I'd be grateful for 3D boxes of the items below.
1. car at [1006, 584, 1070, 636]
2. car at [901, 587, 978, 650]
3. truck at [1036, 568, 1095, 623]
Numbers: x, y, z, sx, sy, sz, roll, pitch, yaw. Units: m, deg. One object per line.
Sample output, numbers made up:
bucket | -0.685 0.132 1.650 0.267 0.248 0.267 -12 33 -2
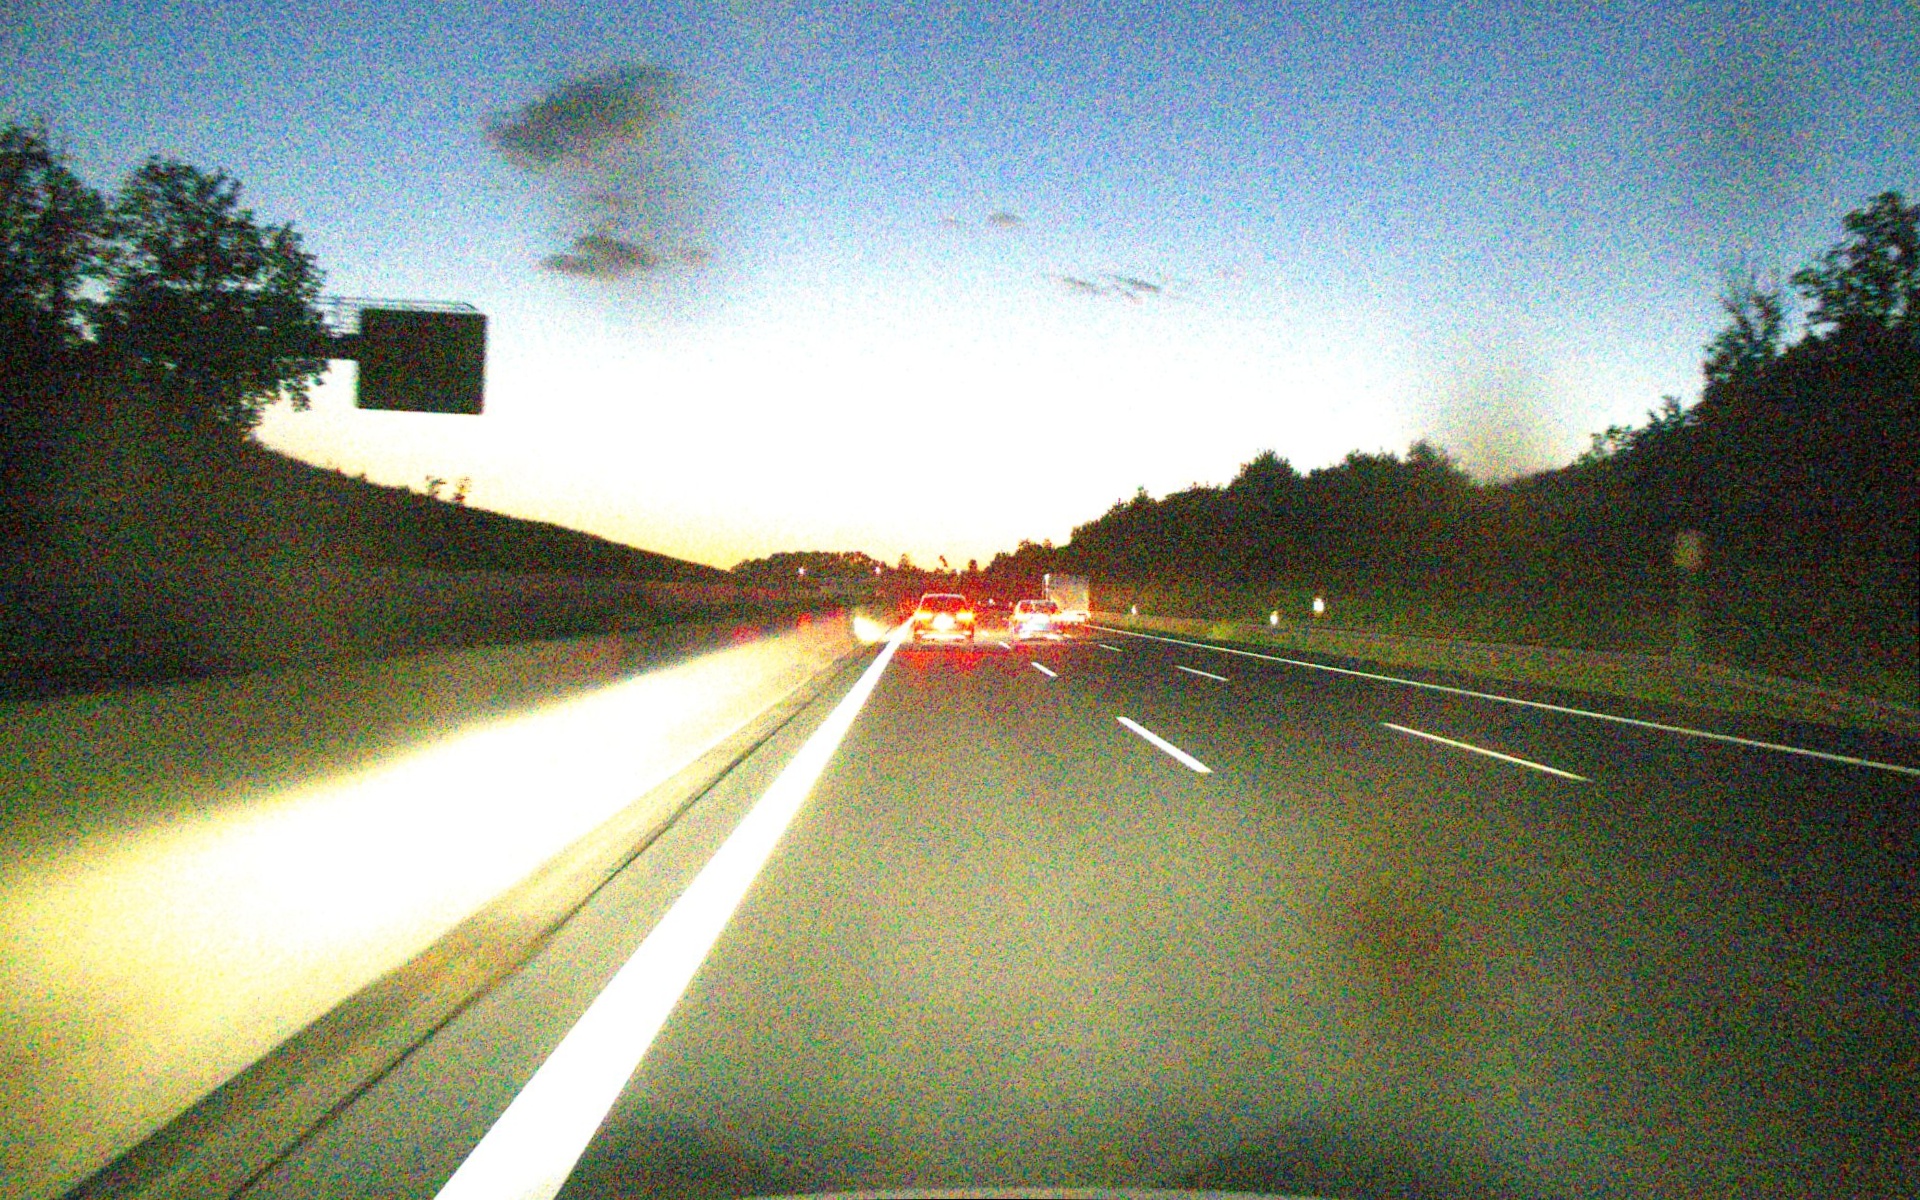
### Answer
car | 2.766 0.350 59.200 1.873 1.760 3.998 1 0 -3
car | -0.652 0.517 47.948 2.063 1.646 4.202 2 0 -2
truck | 6.203 -0.289 97.967 2.551 2.924 7.483 5 0 -2
